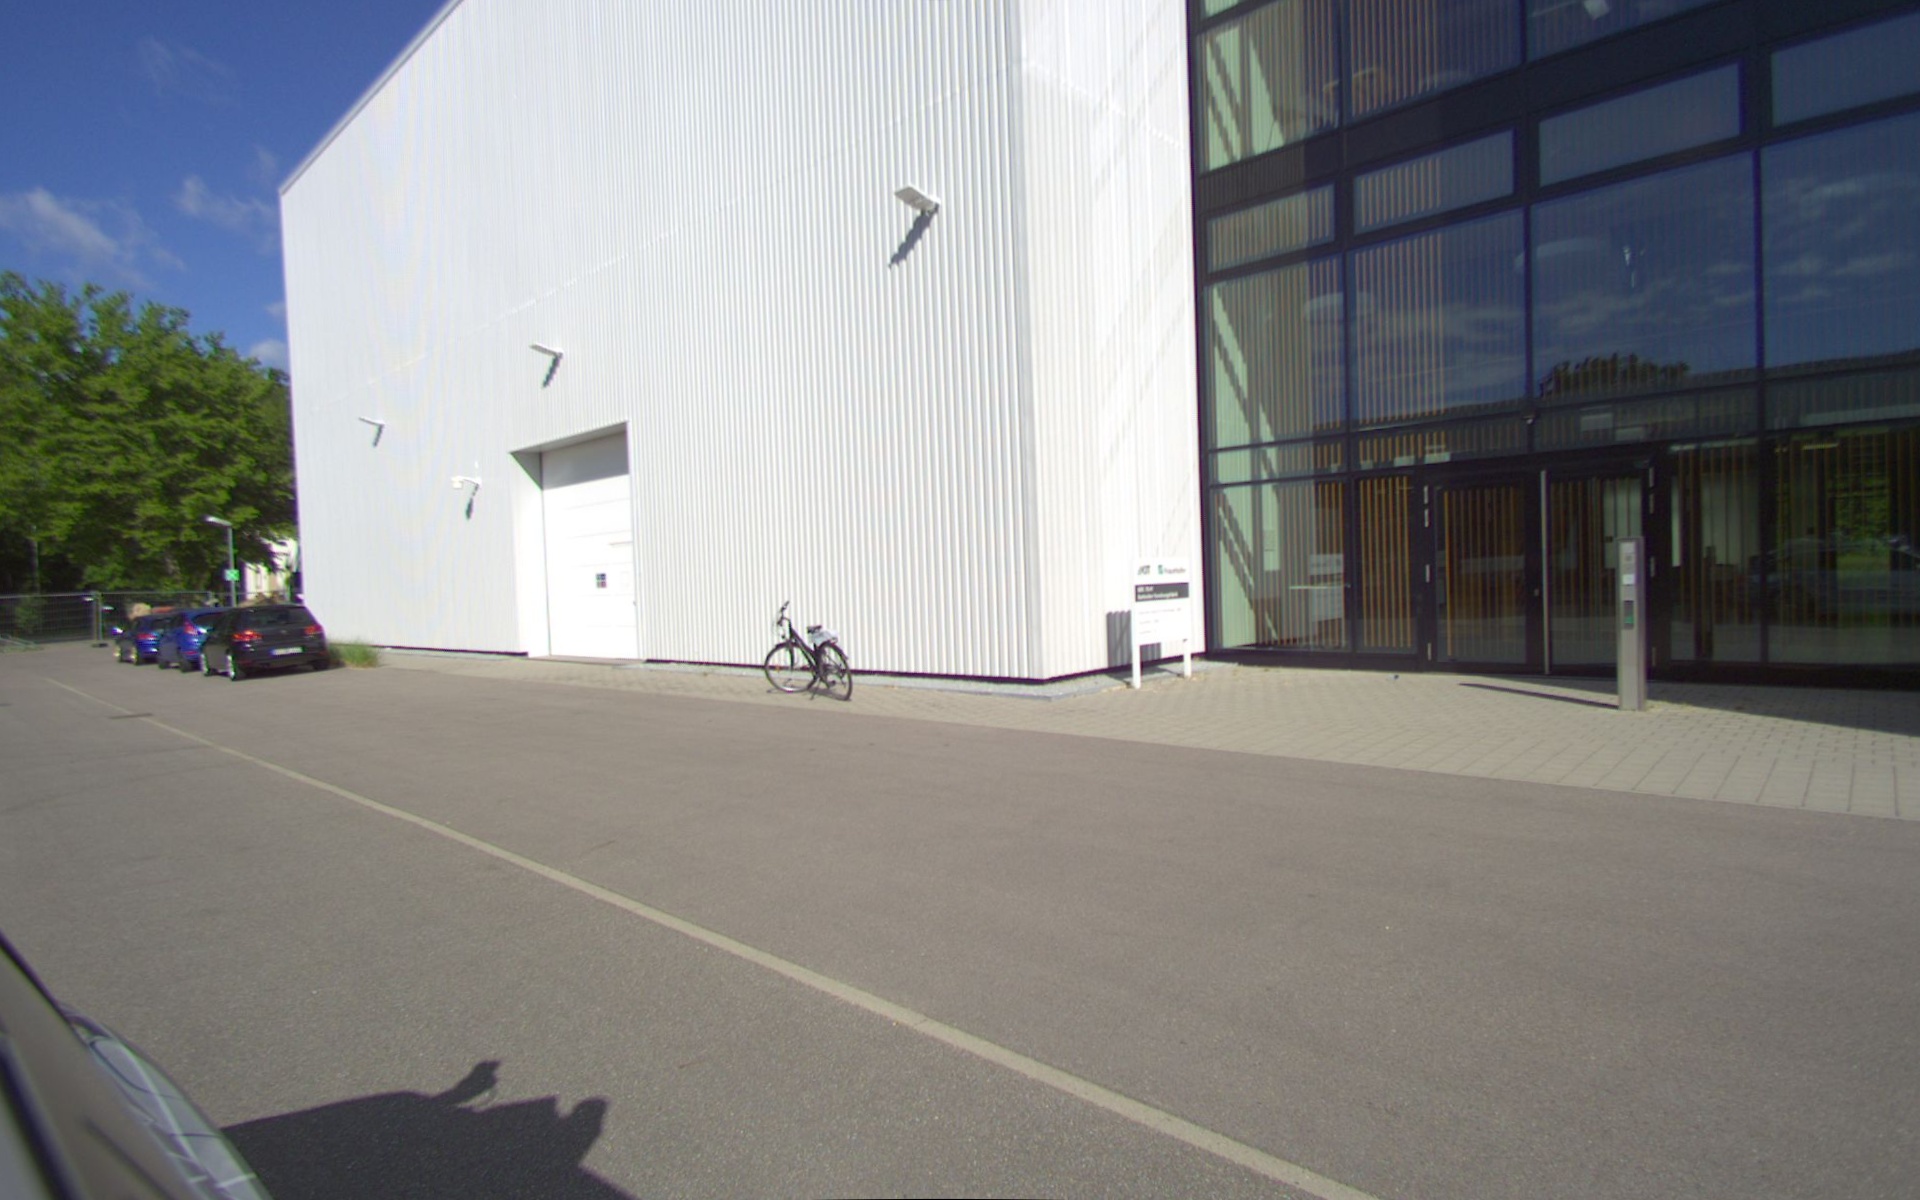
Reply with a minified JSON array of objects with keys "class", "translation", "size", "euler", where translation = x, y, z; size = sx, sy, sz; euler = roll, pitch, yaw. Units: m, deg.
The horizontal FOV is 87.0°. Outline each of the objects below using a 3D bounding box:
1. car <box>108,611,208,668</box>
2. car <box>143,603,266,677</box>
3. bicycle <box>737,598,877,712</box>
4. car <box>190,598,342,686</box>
[{"class":"car","translation":[-22.839,1.091,28.766],"size":[4.002,1.451,1.765],"euler":[-1,0,45]},{"class":"car","translation":[-18.760,0.953,25.076],"size":[4.002,1.533,1.766],"euler":[-1,4,45]},{"class":"bicycle","translation":[-1.877,0.602,12.167],"size":[0.895,1.151,1.905],"euler":[-6,4,-32]},{"class":"car","translation":[-14.848,0.836,21.577],"size":[4.002,1.533,1.870],"euler":[-1,4,45]}]
